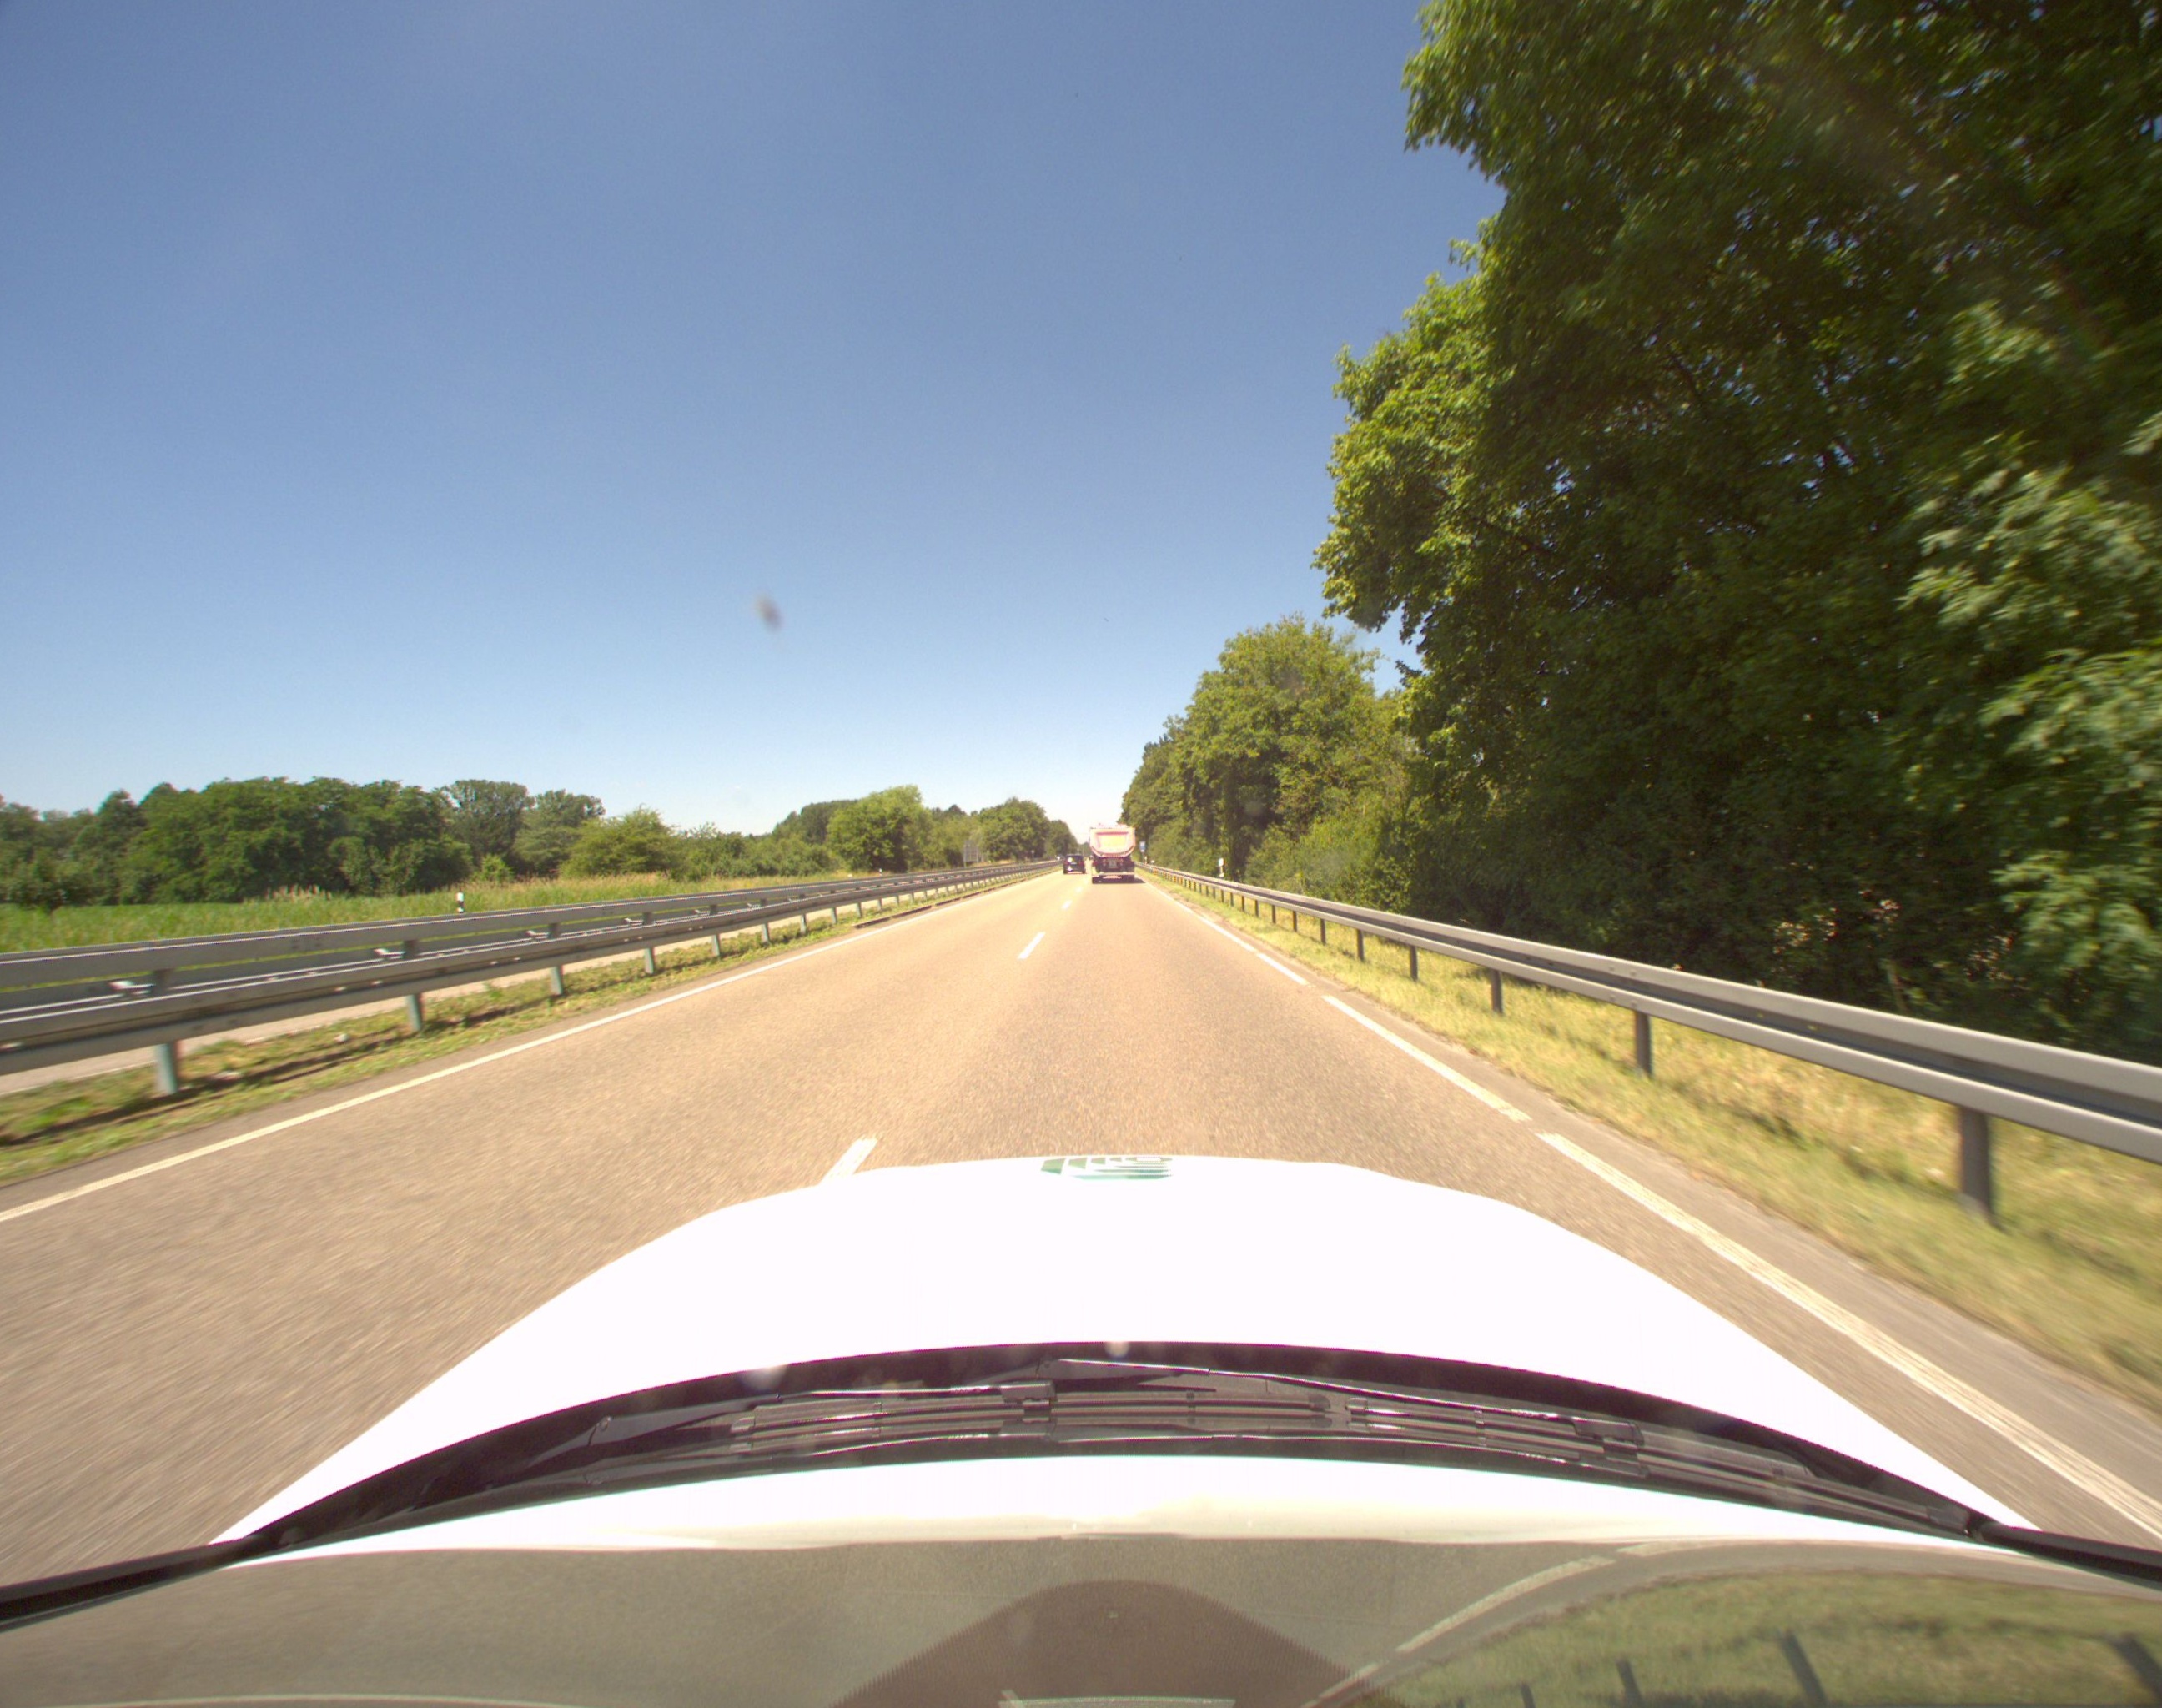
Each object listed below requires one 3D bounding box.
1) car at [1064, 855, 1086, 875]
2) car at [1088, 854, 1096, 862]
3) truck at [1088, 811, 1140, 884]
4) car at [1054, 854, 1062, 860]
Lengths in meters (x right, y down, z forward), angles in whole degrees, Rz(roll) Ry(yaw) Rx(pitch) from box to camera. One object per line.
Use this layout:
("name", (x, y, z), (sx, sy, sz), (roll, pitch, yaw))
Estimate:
("car", (-0.516, 1.004, 72.971), (1.851, 1.671, 4.000), (-1, -1, 1))
("car", (2.508, 0.943, 185.805), (1.851, 1.718, 4.000), (-1, -1, 1))
("truck", (1.931, -0.360, 50.942), (2.710, 3.930, 12.372), (-1, 0, 1))
("car", (-6.424, 0.879, 230.984), (1.771, 1.620, 4.511), (-4, 0, 4))
